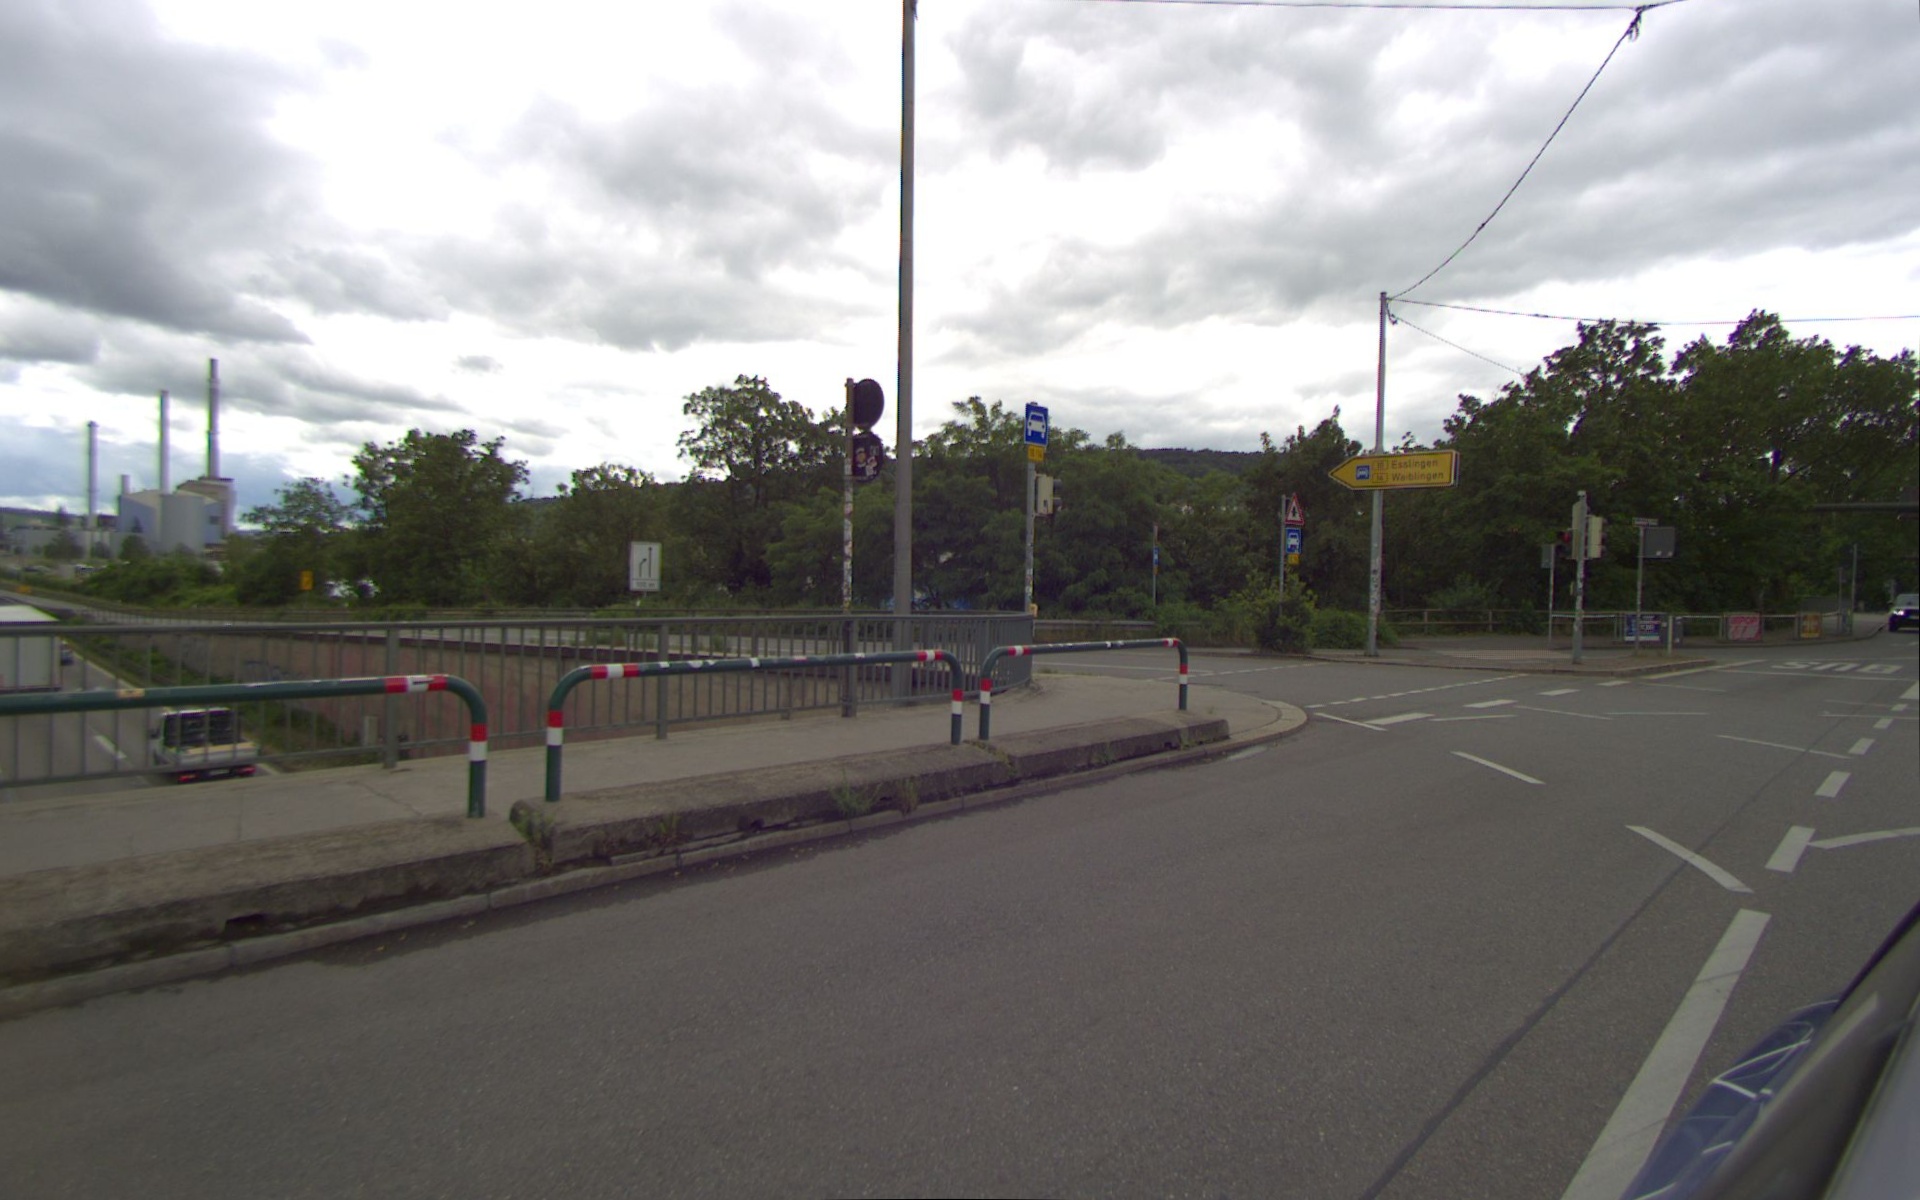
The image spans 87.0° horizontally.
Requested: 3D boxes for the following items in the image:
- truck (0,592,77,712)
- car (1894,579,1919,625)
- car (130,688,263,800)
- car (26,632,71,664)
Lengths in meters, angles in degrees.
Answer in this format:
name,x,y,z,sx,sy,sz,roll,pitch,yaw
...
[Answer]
name,x,y,z,sx,sy,sz,roll,pitch,yaw
truck,-48.026,2.343,51.399,13.144,4.540,3.532,6,4,43
car,45.865,0.070,47.819,2.327,1.939,4.870,4,5,44
car,-25.817,4.636,34.072,2.873,2.530,7.263,-2,2,-43
car,-57.928,3.002,64.314,1.968,1.758,3.986,-2,2,-44
